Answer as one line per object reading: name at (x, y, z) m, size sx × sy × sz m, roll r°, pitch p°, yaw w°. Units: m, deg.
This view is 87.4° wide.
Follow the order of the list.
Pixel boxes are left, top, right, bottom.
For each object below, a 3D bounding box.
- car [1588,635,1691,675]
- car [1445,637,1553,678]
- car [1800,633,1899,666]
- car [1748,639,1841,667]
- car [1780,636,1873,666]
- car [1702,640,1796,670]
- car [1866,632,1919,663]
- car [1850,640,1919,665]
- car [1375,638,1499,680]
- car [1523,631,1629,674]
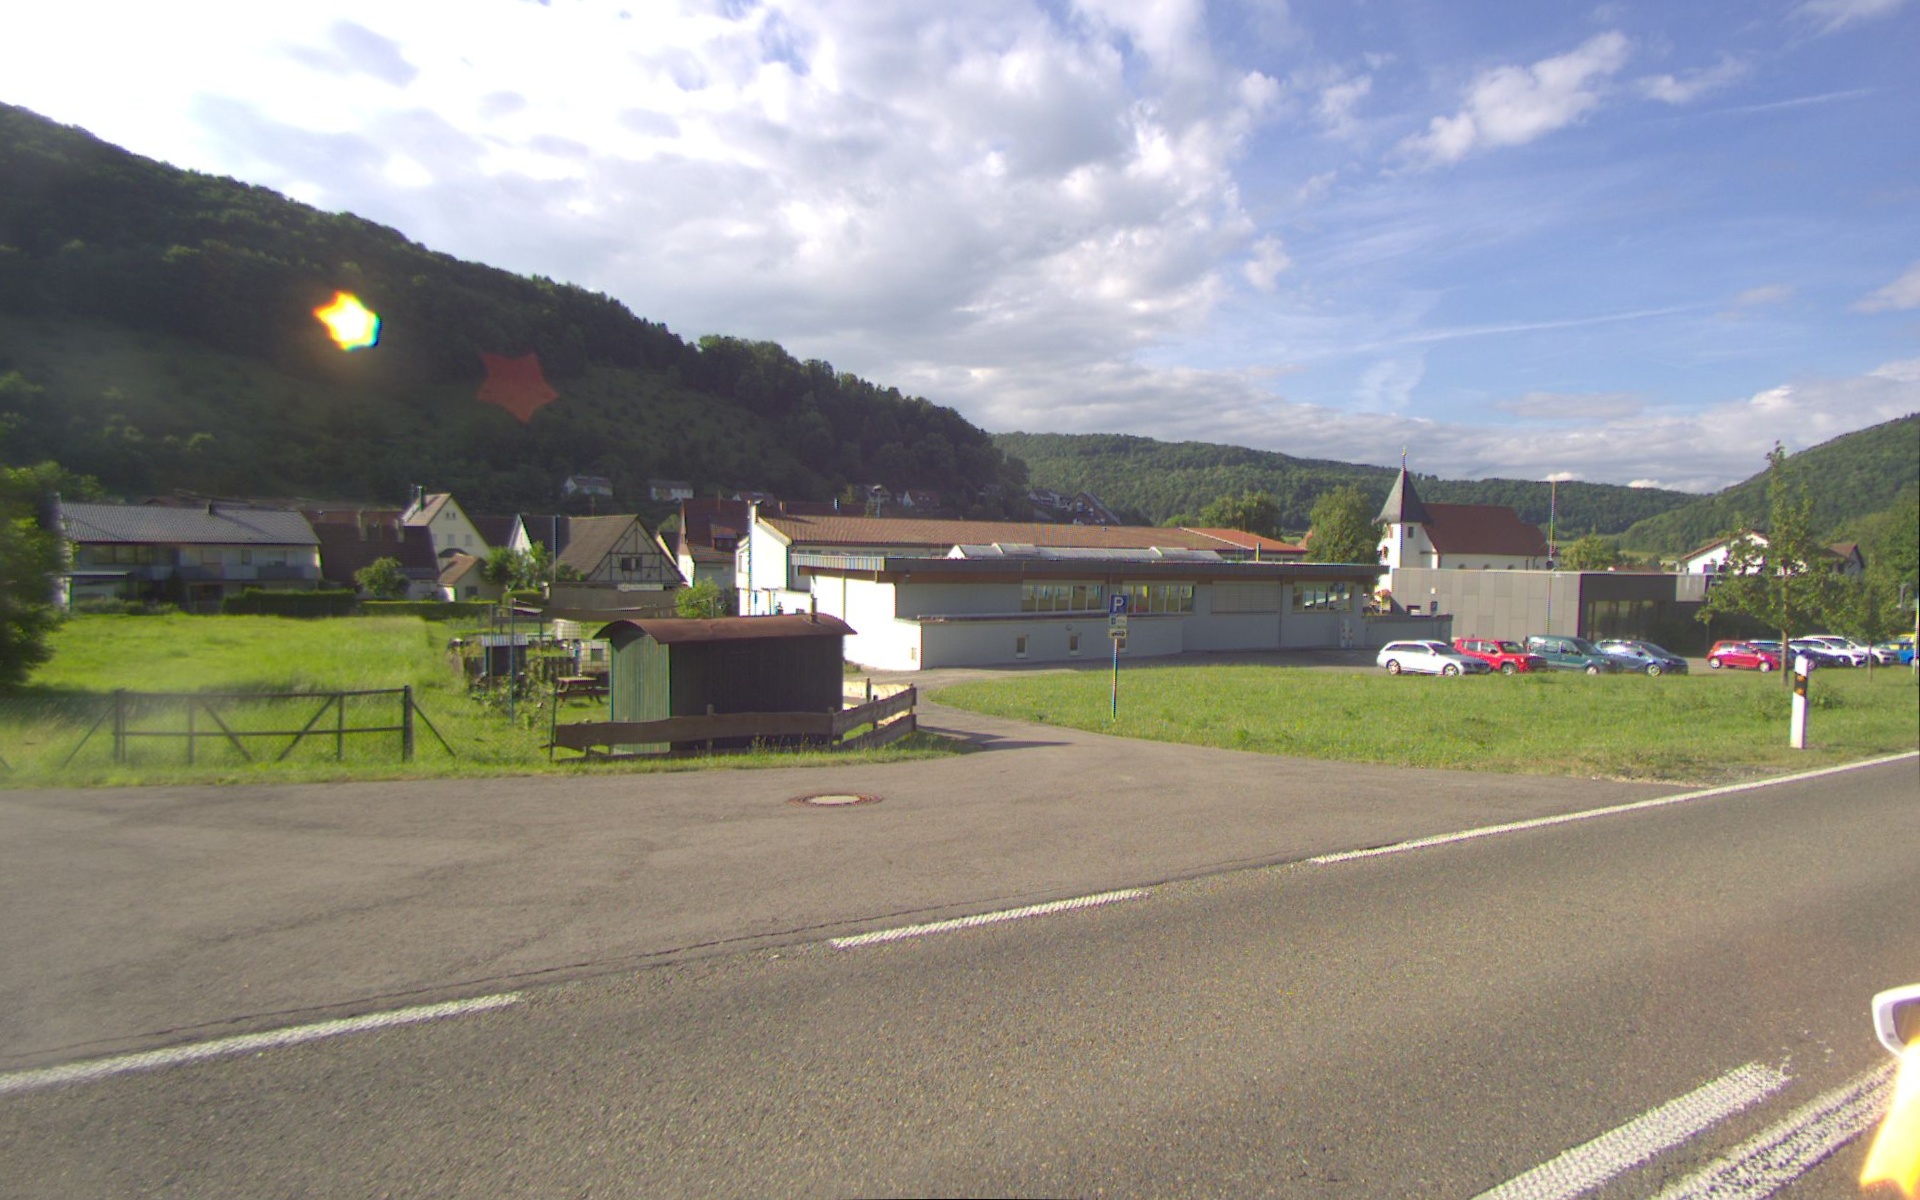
car at (32.630, 2.598, 48.321) m, size 1.709 × 1.744 × 3.806 m, roll 1°, pitch -1°, yaw -26°
car at (23.508, 2.482, 43.909) m, size 1.732 × 1.600 × 3.907 m, roll 1°, pitch -1°, yaw -26°
car at (51.641, 2.844, 58.400) m, size 1.575 × 1.695 × 4.065 m, roll -1°, pitch 0°, yaw -25°
car at (45.904, 2.905, 55.326) m, size 1.575 × 1.424 × 3.614 m, roll 1°, pitch -1°, yaw -25°
car at (48.775, 2.819, 56.600) m, size 1.575 × 1.514 × 3.656 m, roll -1°, pitch 0°, yaw -25°
car at (41.516, 2.864, 52.927) m, size 1.626 × 1.463 × 3.614 m, roll 1°, pitch -1°, yaw -25°
car at (59.207, 2.926, 62.028) m, size 1.816 × 1.839 × 4.540 m, roll 1°, pitch -1°, yaw -25°
car at (56.725, 3.193, 61.270) m, size 1.642 × 1.392 × 3.350 m, roll 1°, pitch -1°, yaw -32°
car at (20.481, 2.508, 43.351) m, size 1.973 × 1.610 × 4.626 m, roll 1°, pitch -1°, yaw -26°
car at (28.470, 2.389, 46.514) m, size 1.734 × 1.745 × 3.846 m, roll 1°, pitch 0°, yaw -28°
